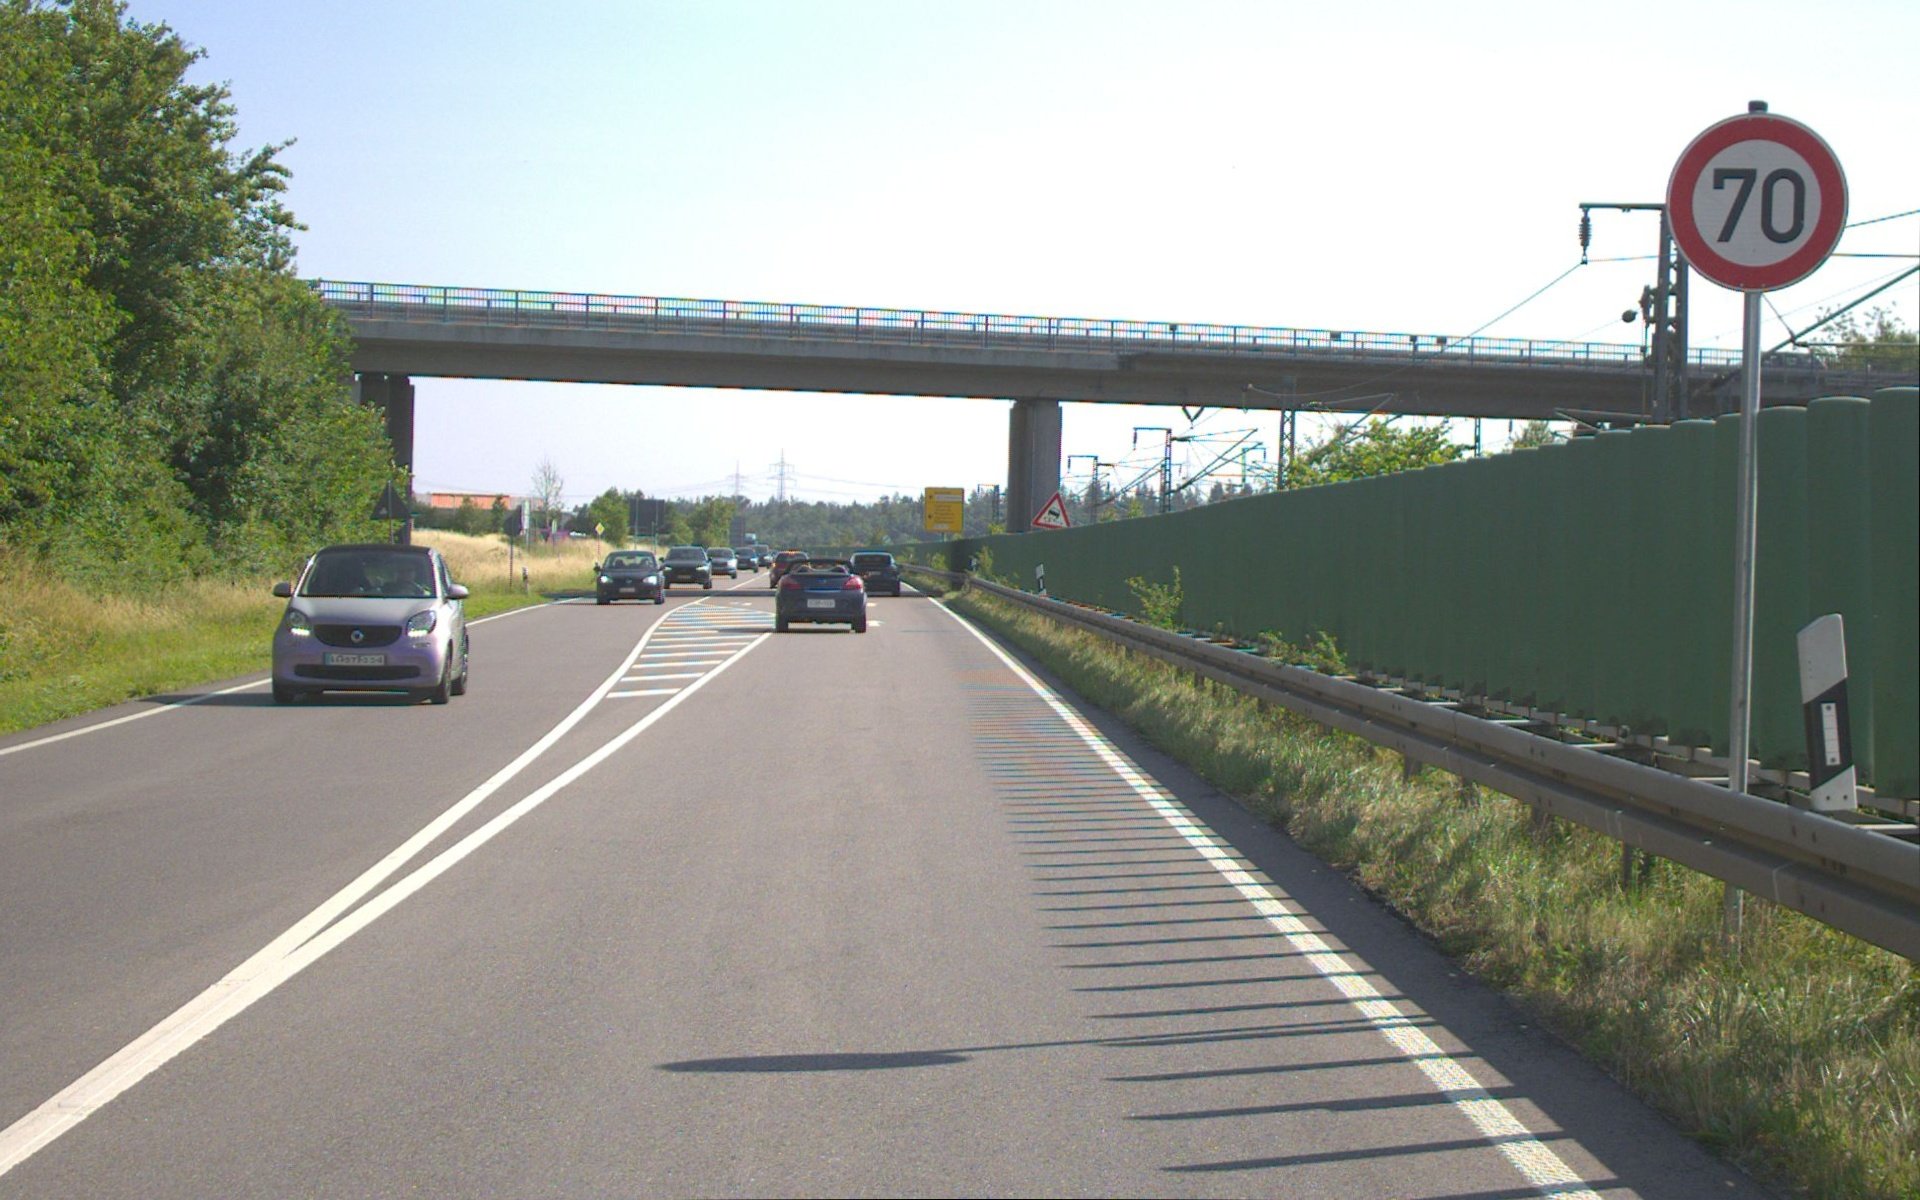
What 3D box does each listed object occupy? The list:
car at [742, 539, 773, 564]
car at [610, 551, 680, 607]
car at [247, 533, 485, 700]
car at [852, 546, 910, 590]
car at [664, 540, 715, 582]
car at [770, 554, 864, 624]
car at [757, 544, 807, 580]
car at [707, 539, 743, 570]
[{"bbox_3d":[-13.378,-3.206,227.354,1.895,1.625,4.000,1,1,-1],"label":"car"},{"bbox_3d":[-8.580,-0.599,93.922,1.749,1.476,4.001,1,1,-3],"label":"car"},{"bbox_3d":[-5.815,0.113,34.069,1.856,1.554,4.001,0,1,-3],"label":"car"},{"bbox_3d":[-2.625,-1.059,114.018,1.895,1.413,4.000,1,1,-1],"label":"car"},{"bbox_3d":[-10.497,-1.511,133.633,1.922,1.587,4.430,0,1,-4],"label":"car"},{"bbox_3d":[-2.644,-0.223,64.134,1.663,1.257,4.000,1,1,-1],"label":"car"},{"bbox_3d":[-7.112,-1.520,137.636,1.895,1.413,4.000,1,1,-1],"label":"car"},{"bbox_3d":[-12.512,-2.437,183.518,1.845,1.625,4.001,1,1,-3],"label":"car"}]
